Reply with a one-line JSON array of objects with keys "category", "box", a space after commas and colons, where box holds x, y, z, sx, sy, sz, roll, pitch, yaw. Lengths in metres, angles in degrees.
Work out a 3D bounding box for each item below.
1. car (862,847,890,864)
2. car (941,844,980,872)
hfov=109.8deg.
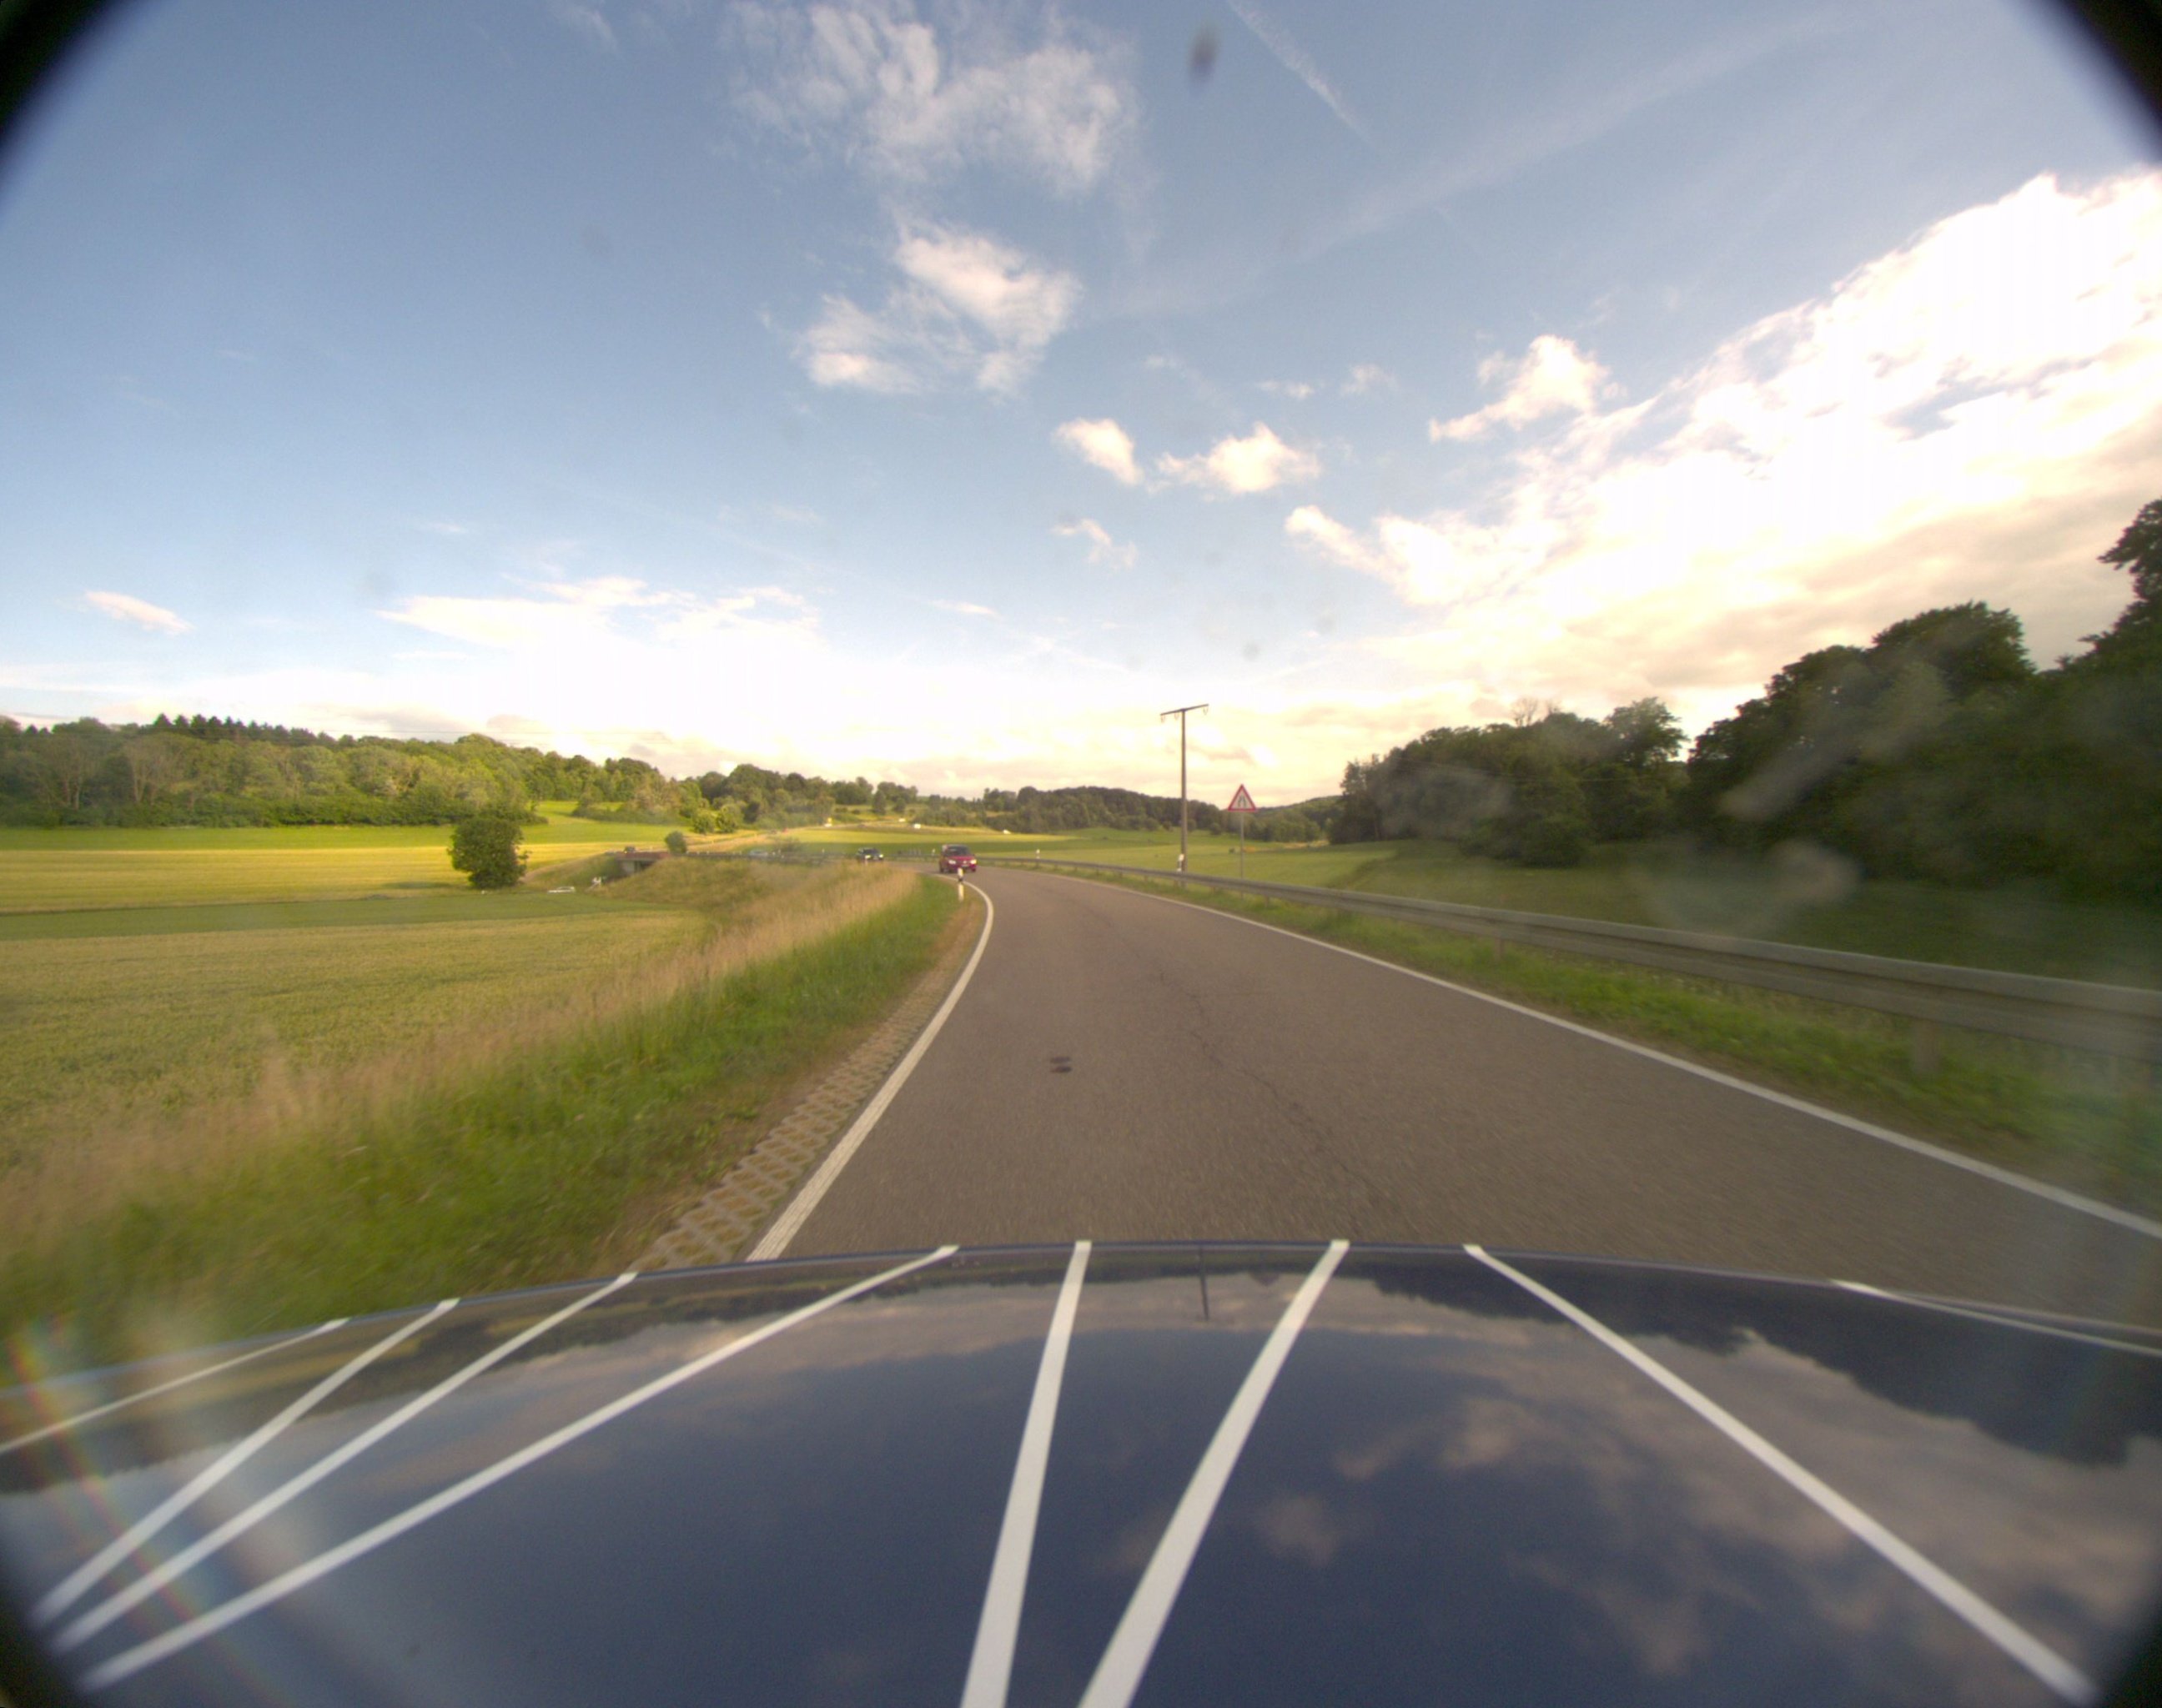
[{"category": "car", "box": [-20.002, 0.146, 74.187, 1.825, 1.601, 3.991, 0, -1, -27]}, {"category": "car", "box": [-7.966, 0.215, 50.077, 1.823, 1.646, 3.993, -5, 2, -18]}]
